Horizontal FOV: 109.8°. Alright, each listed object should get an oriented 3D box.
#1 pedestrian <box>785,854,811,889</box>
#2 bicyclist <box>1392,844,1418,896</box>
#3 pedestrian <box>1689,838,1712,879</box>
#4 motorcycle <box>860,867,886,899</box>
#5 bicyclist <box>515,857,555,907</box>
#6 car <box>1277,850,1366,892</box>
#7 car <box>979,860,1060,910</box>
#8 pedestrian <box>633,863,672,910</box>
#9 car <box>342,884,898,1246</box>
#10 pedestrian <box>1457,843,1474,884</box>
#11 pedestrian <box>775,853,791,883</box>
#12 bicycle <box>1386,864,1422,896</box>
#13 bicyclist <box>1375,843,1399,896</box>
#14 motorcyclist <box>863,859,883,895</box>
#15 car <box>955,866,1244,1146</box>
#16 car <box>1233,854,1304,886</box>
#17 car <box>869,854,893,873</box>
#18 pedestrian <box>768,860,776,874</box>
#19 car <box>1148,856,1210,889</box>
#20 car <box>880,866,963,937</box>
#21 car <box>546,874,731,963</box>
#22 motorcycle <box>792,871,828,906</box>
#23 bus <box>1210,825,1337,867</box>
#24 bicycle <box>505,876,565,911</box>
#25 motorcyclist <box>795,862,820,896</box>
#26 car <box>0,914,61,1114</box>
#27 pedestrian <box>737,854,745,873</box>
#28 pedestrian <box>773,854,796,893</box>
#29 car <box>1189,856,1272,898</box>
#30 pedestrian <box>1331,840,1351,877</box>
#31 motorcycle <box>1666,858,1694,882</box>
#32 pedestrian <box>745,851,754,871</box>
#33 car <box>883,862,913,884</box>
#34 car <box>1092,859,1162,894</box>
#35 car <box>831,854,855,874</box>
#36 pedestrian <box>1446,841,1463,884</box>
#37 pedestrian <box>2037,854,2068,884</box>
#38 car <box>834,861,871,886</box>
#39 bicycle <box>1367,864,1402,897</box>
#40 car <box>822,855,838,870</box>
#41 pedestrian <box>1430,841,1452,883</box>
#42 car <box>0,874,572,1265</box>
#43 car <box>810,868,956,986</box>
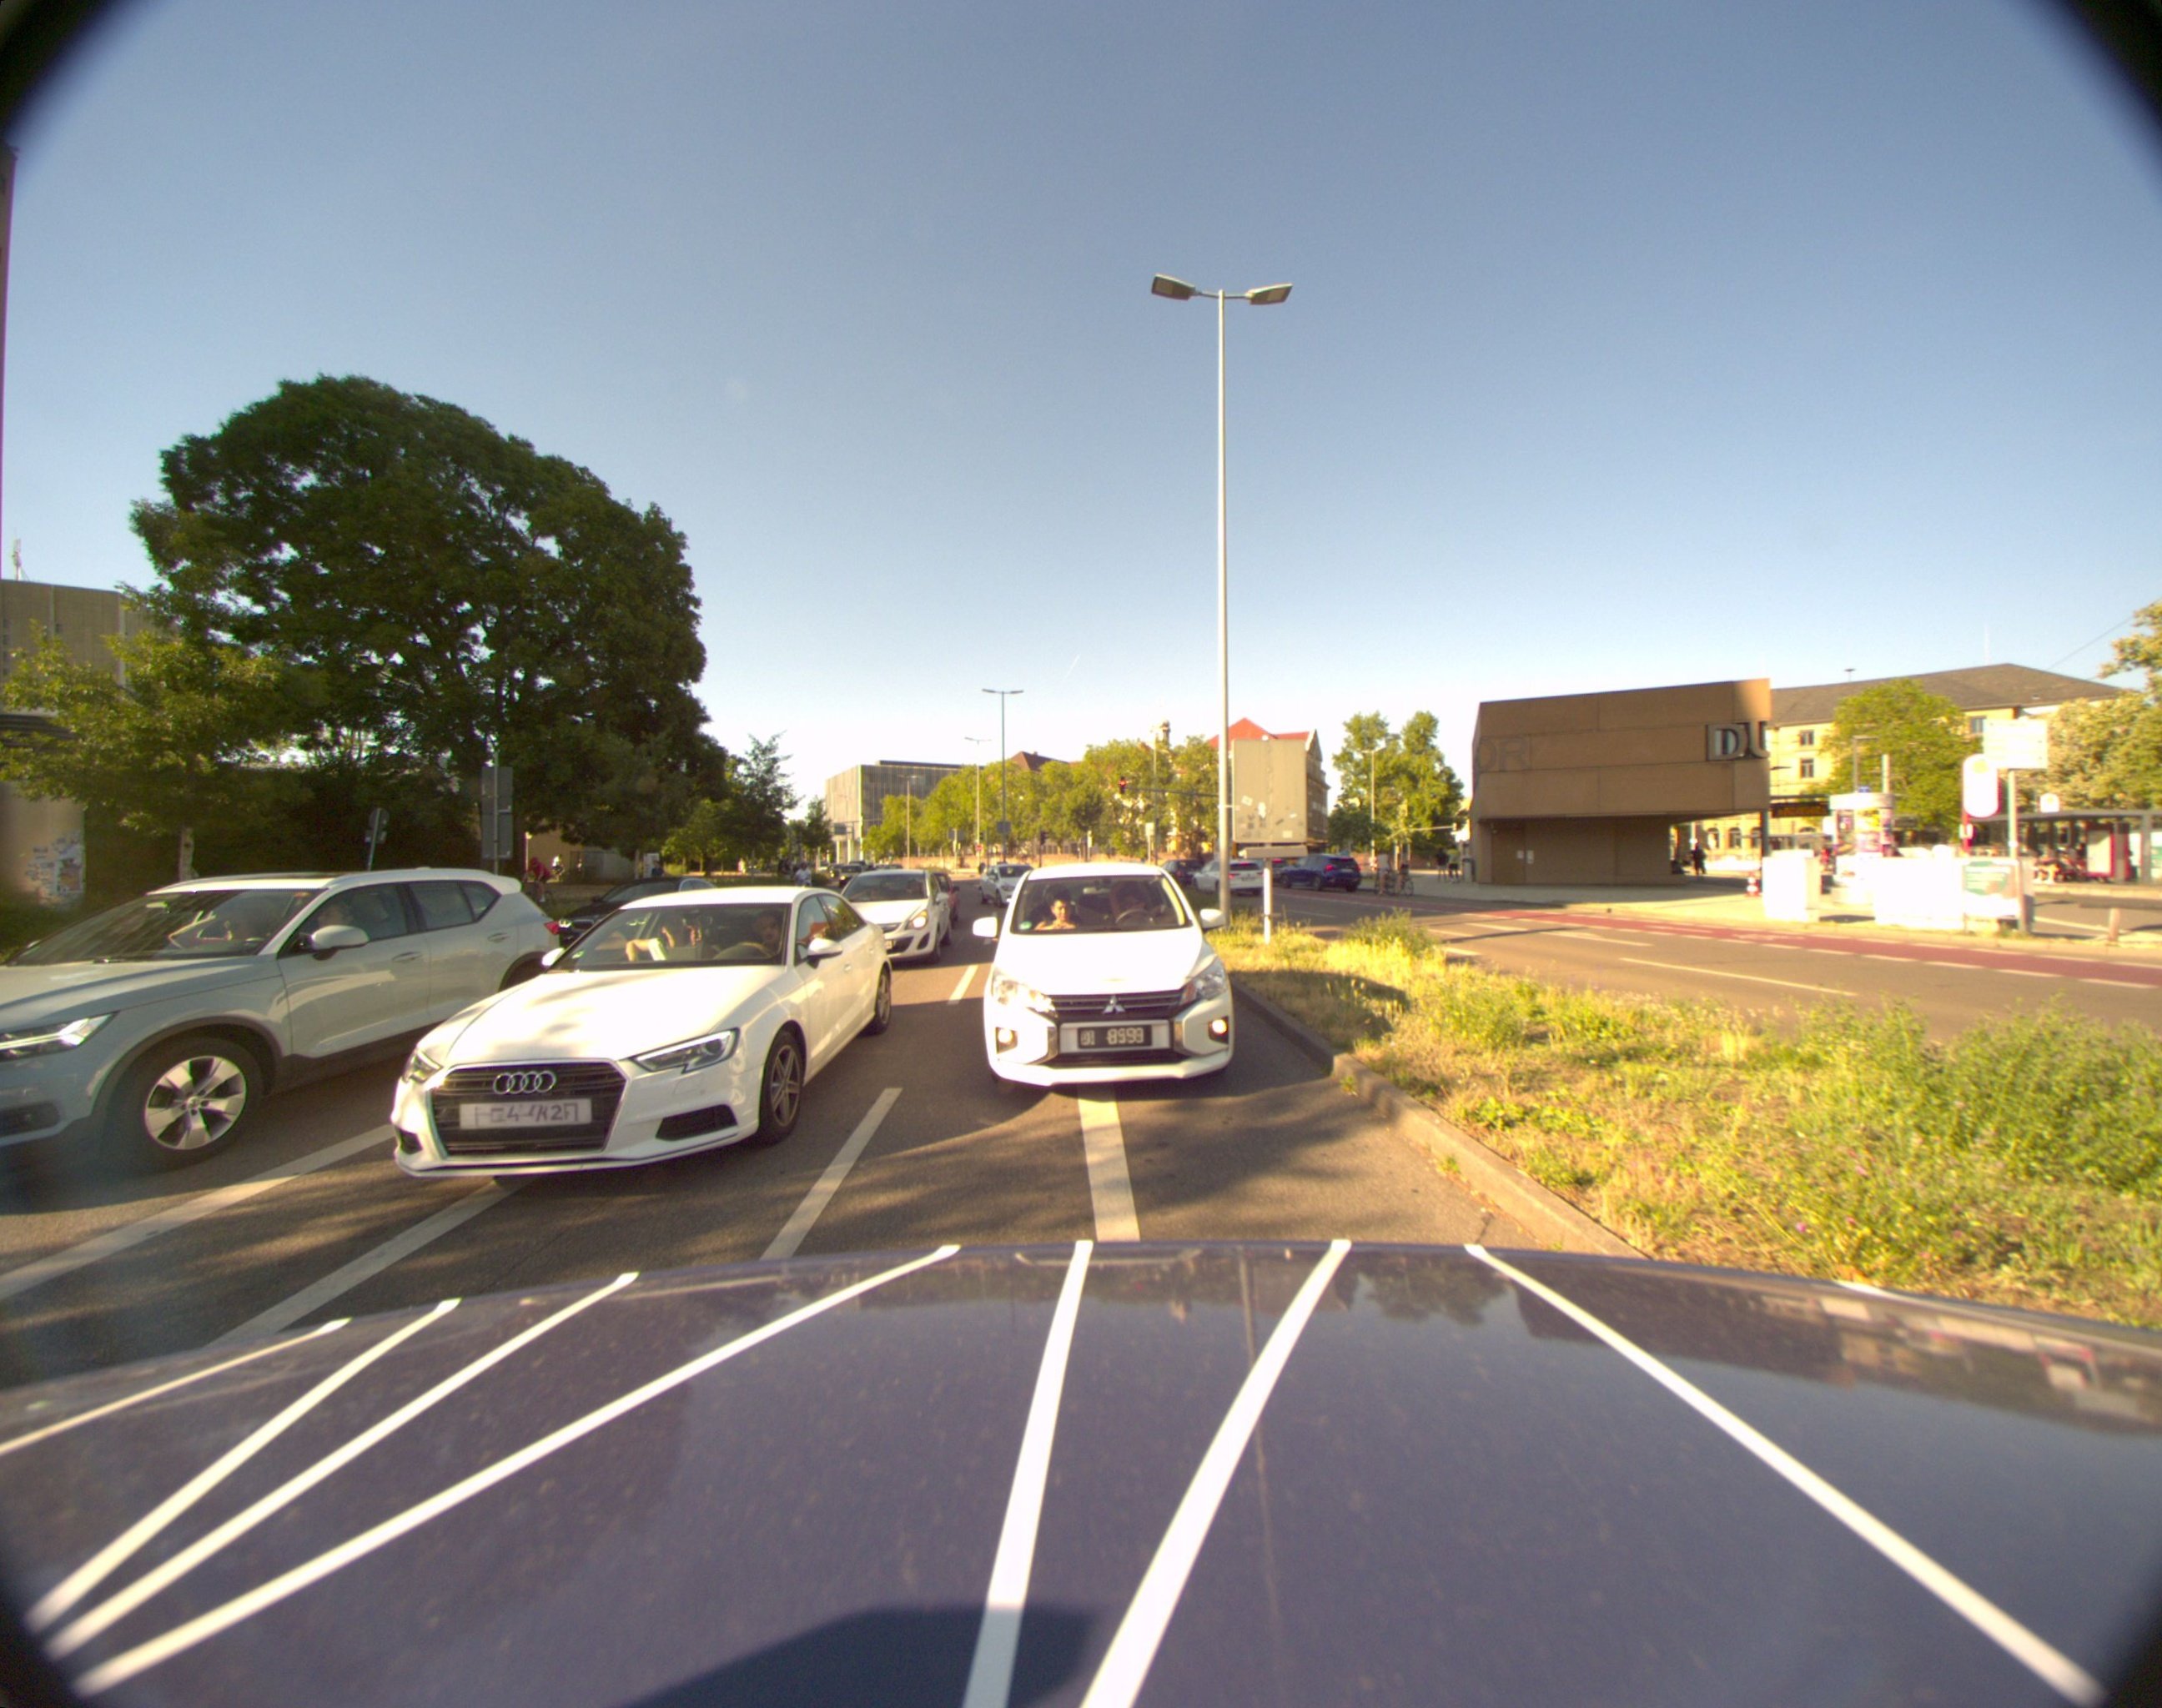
[{"bbox_3d":[-16.790,1.011,45.125,1.143,2.002,1.285,-2,1,-10],"label":"pedestrian"},{"bbox_3d":[12.493,0.611,29.344,0.611,2.002,0.708,-1,1,-15],"label":"bicyclist"},{"bbox_3d":[31.002,0.220,38.036,0.780,2.002,0.771,-3,2,-42],"label":"pedestrian"},{"bbox_3d":[-9.319,1.279,34.106,0.718,1.297,2.233,-2,1,-7],"label":"motorcycle"},{"bbox_3d":[-17.427,0.871,24.270,0.617,1.551,0.870,-2,1,-8],"label":"bicyclist"},{"bbox_3d":[10.424,0.697,33.211,1.757,1.680,4.183,-1,0,-14],"label":"car"},{"bbox_3d":[-2.218,0.995,26.176,1.758,1.451,4.182,-2,1,-19],"label":"car"},{"bbox_3d":[-16.554,1.246,29.402,1.010,1.711,0.884,-2,1,-10],"label":"pedestrian"},{"bbox_3d":[-2.552,1.035,5.386,1.628,1.396,3.832,-2,1,-2],"label":"car"},{"bbox_3d":[19.104,0.452,37.730,0.655,2.002,0.469,-2,1,20],"label":"pedestrian"},{"bbox_3d":[-16.235,0.747,41.384,0.596,1.585,0.594,-2,1,-8],"label":"pedestrian"},{"bbox_3d":[12.494,0.980,29.428,0.464,1.185,1.395,-3,1,-17],"label":"bicycle"},{"bbox_3d":[11.766,0.599,29.225,0.611,2.002,0.565,-1,1,-15],"label":"bicyclist"},{"bbox_3d":[-9.268,1.010,33.874,0.711,1.581,0.689,-2,1,-7],"label":"motorcyclist"},{"bbox_3d":[0.059,0.912,6.429,1.628,1.451,4.040,-2,1,-2],"label":"car"},{"bbox_3d":[9.506,0.789,38.899,1.850,1.483,4.388,1,0,-10],"label":"car"},{"bbox_3d":[-18.753,0.845,71.162,1.748,1.696,3.993,-1,0,-21],"label":"car"},{"bbox_3d":[-44.818,1.884,110.069,0.840,2.002,1.065,-3,1,-30],"label":"pedestrian"},{"bbox_3d":[4.736,0.870,37.377,1.757,1.451,4.184,-2,1,-11],"label":"car"},{"bbox_3d":[-3.894,1.096,19.093,1.628,1.451,4.039,-2,1,-7],"label":"car"},{"bbox_3d":[-9.281,1.272,16.381,1.756,1.451,4.186,-2,1,-5],"label":"car"},{"bbox_3d":[-10.954,1.373,30.793,0.718,1.297,2.234,-2,1,-4],"label":"motorcycle"},{"bbox_3d":[17.061,-0.790,66.620,12.565,3.193,3.079,-3,1,-34],"label":"bus"},{"bbox_3d":[-17.433,1.241,24.329,0.660,0.958,2.033,0,1,-7],"label":"bicycle"},{"bbox_3d":[-10.958,1.002,30.506,0.718,1.297,0.735,-2,1,-4],"label":"motorcyclist"},{"bbox_3d":[-8.756,1.239,3.879,1.628,1.451,4.040,-2,1,-2],"label":"car"},{"bbox_3d":[-27.929,0.755,62.410,0.548,1.521,0.603,-3,1,-19],"label":"pedestrian"},{"bbox_3d":[-15.785,1.023,40.513,0.895,2.002,0.881,-2,1,-10],"label":"pedestrian"},{"bbox_3d":[6.032,0.896,31.302,1.850,1.483,4.388,-2,1,-10],"label":"car"},{"bbox_3d":[13.369,0.249,39.109,0.797,1.886,0.612,0,1,40],"label":"pedestrian"},{"bbox_3d":[26.212,0.705,33.234,0.948,1.061,0.331,-1,1,39],"label":"motorcycle"},{"bbox_3d":[-27.289,0.601,62.580,0.548,1.597,0.603,-3,1,-19],"label":"pedestrian"},{"bbox_3d":[-13.867,1.430,57.413,1.748,1.536,3.993,-1,0,-20],"label":"car"},{"bbox_3d":[2.090,0.989,35.810,1.758,1.451,4.182,-2,1,-19],"label":"car"},{"bbox_3d":[-20.797,0.866,66.260,1.748,1.696,3.993,-1,0,-21],"label":"car"},{"bbox_3d":[17.784,0.412,36.168,0.655,2.002,0.469,-2,1,20],"label":"pedestrian"},{"bbox_3d":[39.011,0.611,30.510,0.539,1.180,0.659,-2,1,29],"label":"pedestrian"},{"bbox_3d":[-14.925,1.265,49.804,1.746,1.516,3.996,-1,0,-9],"label":"car"},{"bbox_3d":[11.718,1.011,29.391,0.464,1.185,1.395,-3,1,-17],"label":"bicycle"},{"bbox_3d":[-30.447,1.027,92.203,1.748,1.696,3.993,-1,0,-19],"label":"car"},{"bbox_3d":[17.787,0.385,37.539,0.777,2.002,0.773,-2,1,13],"label":"pedestrian"},{"bbox_3d":[-5.748,1.051,5.254,1.628,1.611,4.223,-2,1,-2],"label":"car"},{"bbox_3d":[-3.071,1.047,12.575,1.628,1.451,4.039,-2,1,-5],"label":"car"}]
